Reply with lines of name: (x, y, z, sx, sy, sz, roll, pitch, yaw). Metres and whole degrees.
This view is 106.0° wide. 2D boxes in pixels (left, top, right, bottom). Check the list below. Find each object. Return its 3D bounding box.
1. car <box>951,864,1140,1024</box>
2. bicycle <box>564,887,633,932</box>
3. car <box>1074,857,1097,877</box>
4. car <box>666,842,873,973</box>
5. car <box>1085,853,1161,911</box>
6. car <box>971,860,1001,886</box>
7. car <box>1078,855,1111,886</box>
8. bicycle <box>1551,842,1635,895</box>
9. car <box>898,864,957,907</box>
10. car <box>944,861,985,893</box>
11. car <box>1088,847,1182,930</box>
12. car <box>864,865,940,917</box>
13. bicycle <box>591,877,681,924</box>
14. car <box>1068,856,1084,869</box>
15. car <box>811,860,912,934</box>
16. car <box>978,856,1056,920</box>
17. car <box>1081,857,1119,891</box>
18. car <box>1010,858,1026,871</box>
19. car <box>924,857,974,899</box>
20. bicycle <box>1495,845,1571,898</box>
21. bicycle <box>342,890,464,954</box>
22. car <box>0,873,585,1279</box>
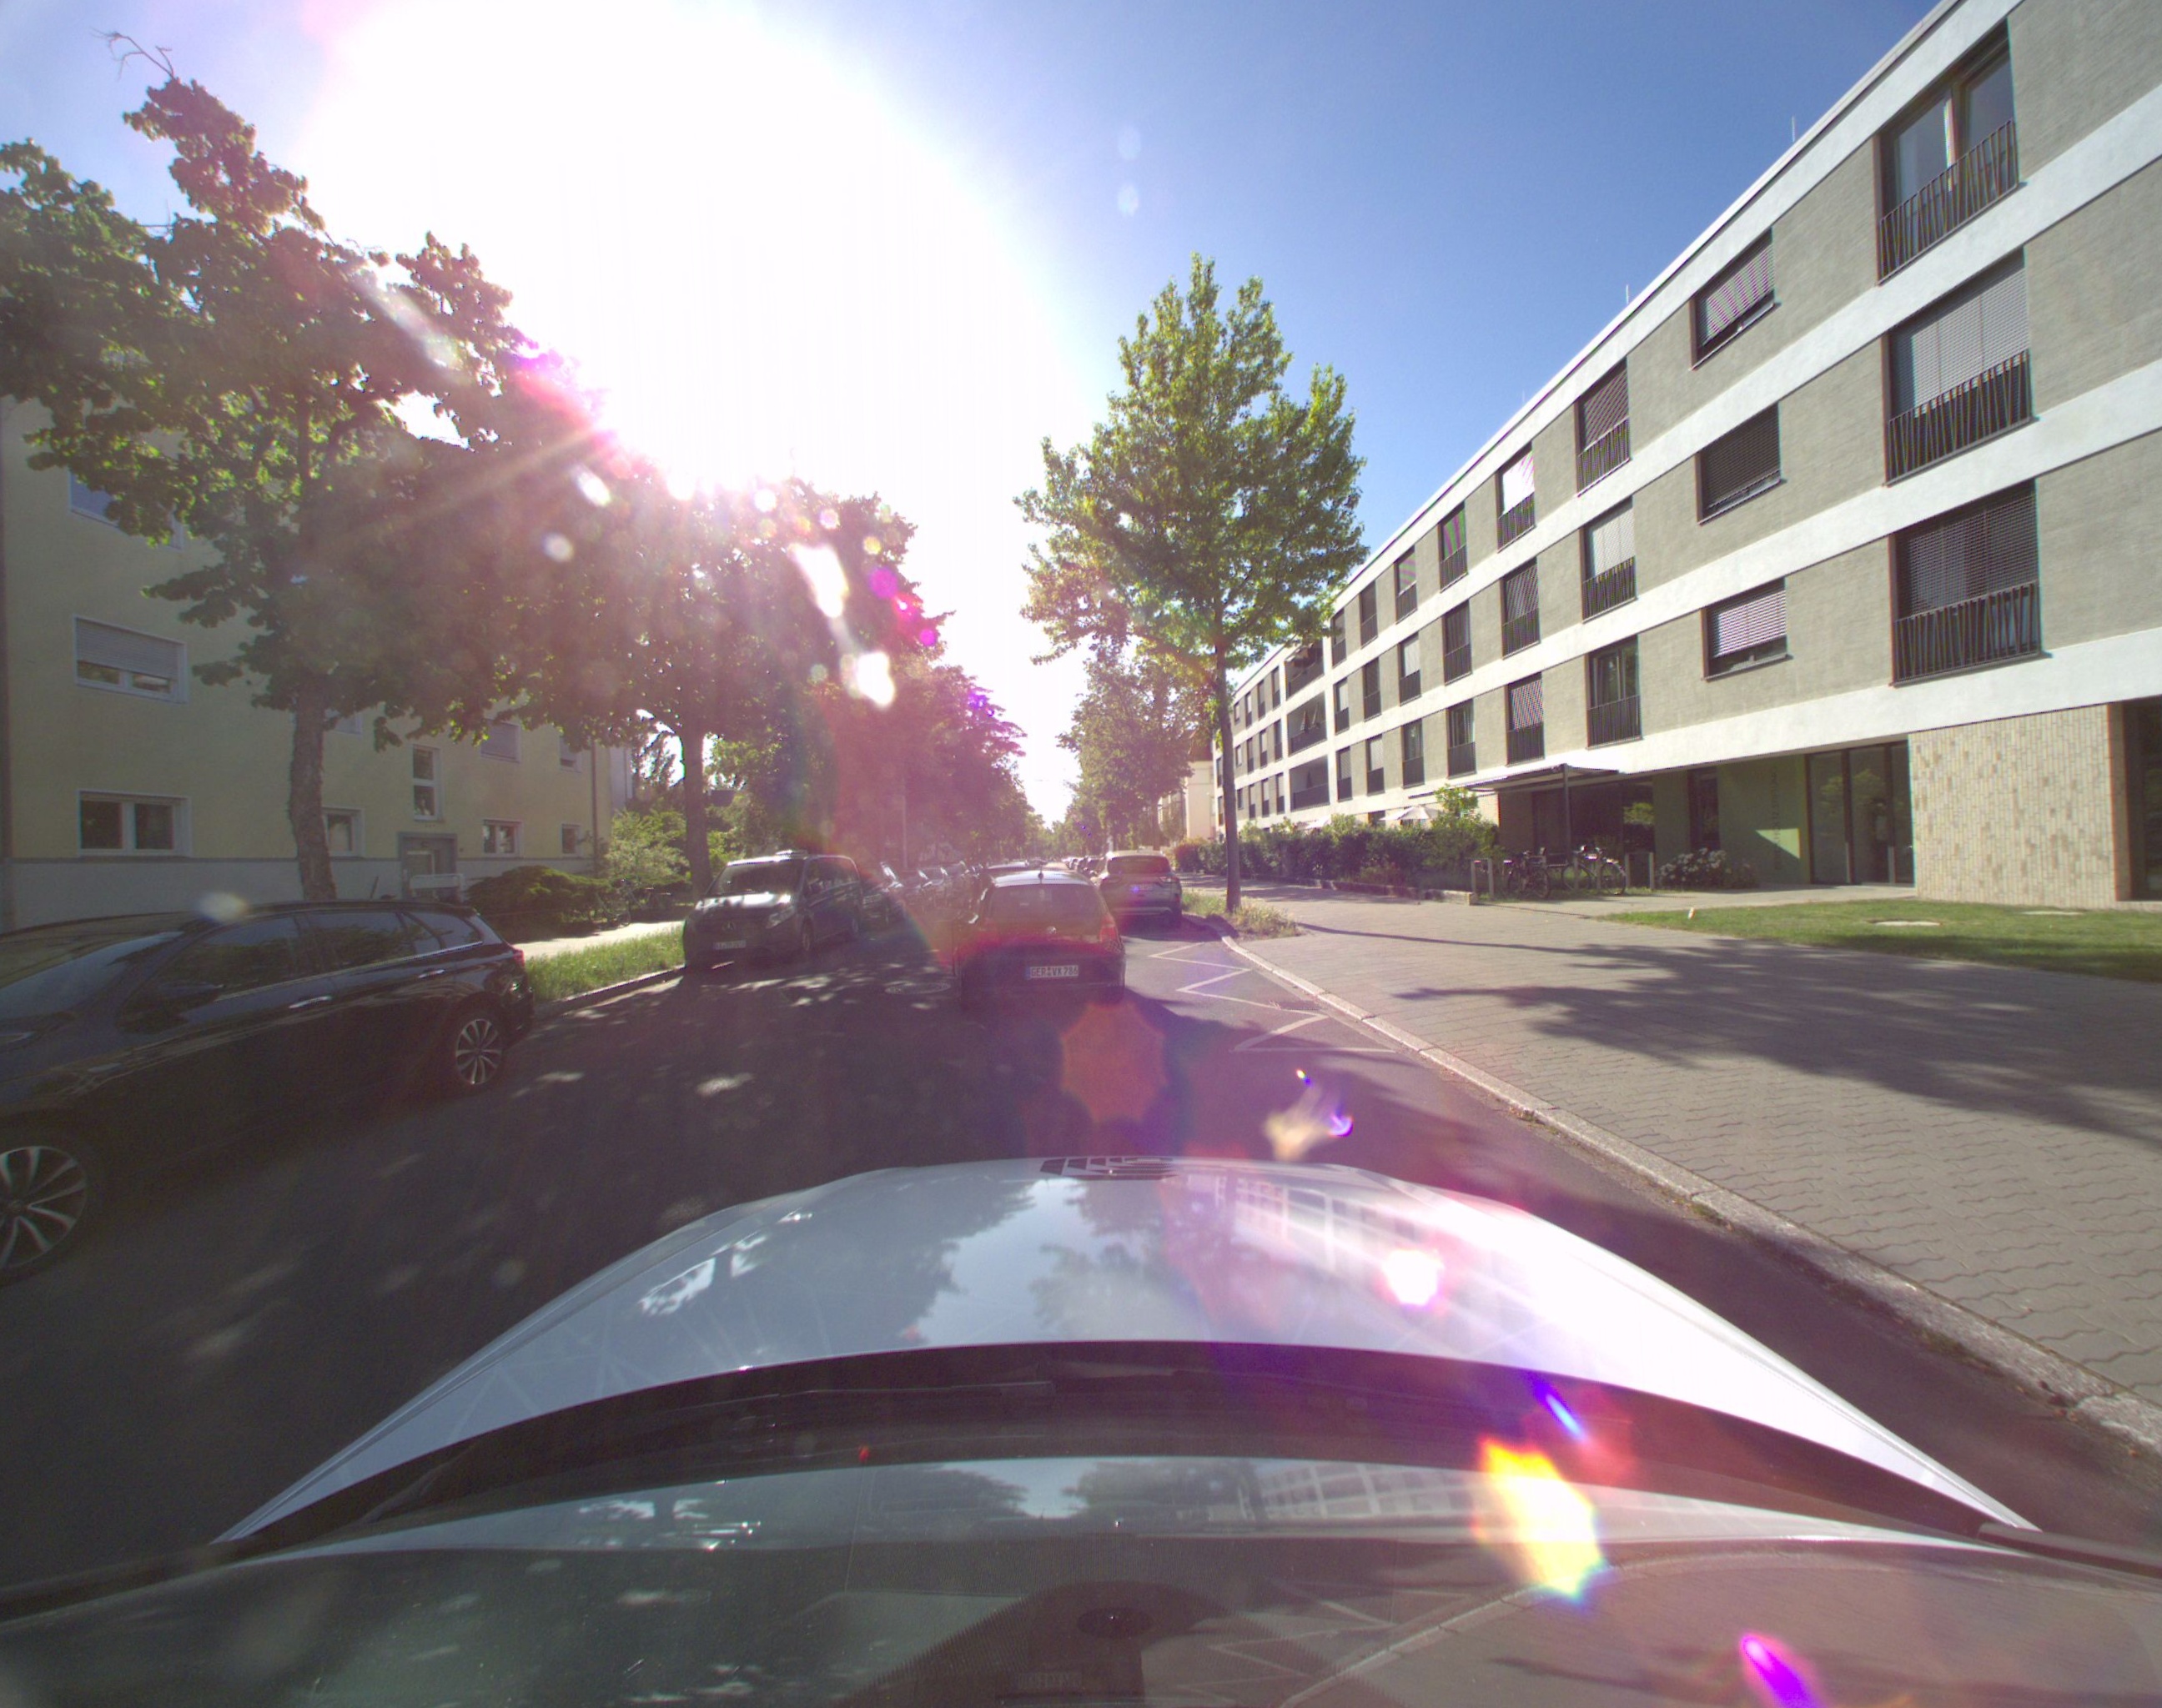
car: (-0.588, 0.855, 9.417, 1.650, 1.397, 3.398, -3, 0, -11)
bicycle: (-12.264, 1.379, 20.766, 0.593, 0.991, 1.927, -3, 0, -1)
car: (0.346, 0.999, 64.665, 1.715, 1.480, 3.850, 0, 0, 0)
car: (-5.470, 0.828, 15.153, 1.821, 1.904, 5.140, -4, 0, -1)
car: (1.165, 0.782, 24.347, 1.691, 1.524, 3.992, -2, 0, -5)
car: (-6.274, 1.239, 53.987, 1.608, 1.543, 3.862, -3, 0, -2)
car: (0.693, 0.860, 44.773, 1.715, 1.641, 3.850, 0, 0, 0)
bicycle: (11.061, 0.302, 17.653, 0.545, 1.055, 1.777, -3, 0, -4)
car: (-5.852, 1.168, 31.336, 1.608, 1.427, 3.722, -3, 0, -2)
car: (-6.032, 1.168, 42.473, 1.608, 1.452, 3.862, -3, 0, -2)
car: (1.113, 0.718, 18.651, 1.842, 1.631, 4.409, -2, -1, 0)
car: (-5.672, 1.123, 26.249, 1.608, 1.427, 4.054, -3, 0, -2)
bicycle: (-12.954, 1.337, 23.781, 2.147, 1.208, 0.687, -3, 0, -13)
car: (-0.580, 1.028, 99.926, 1.714, 1.480, 3.852, -3, 0, 1)
car: (-5.520, 1.001, 20.947, 1.609, 1.611, 4.223, -3, 0, -4)
car: (-1.580, 0.818, 21.298, 1.644, 1.425, 4.000, -3, 0, 0)
car: (0.865, 0.887, 38.771, 1.715, 1.528, 3.999, 0, 0, 0)
car: (-7.196, 1.165, 93.045, 1.608, 1.392, 3.862, -3, 0, -2)
car: (-5.908, 1.043, 36.776, 1.608, 1.679, 4.230, -3, 0, -2)
bicycle: (9.704, 0.366, 17.561, 0.545, 1.055, 1.689, -3, 0, -4)
bicycle: (-12.263, 1.199, 14.807, 0.593, 0.991, 1.927, -3, 0, -1)
car: (-5.150, 0.986, 4.822, 1.503, 1.548, 4.774, -5, 0, -2)
